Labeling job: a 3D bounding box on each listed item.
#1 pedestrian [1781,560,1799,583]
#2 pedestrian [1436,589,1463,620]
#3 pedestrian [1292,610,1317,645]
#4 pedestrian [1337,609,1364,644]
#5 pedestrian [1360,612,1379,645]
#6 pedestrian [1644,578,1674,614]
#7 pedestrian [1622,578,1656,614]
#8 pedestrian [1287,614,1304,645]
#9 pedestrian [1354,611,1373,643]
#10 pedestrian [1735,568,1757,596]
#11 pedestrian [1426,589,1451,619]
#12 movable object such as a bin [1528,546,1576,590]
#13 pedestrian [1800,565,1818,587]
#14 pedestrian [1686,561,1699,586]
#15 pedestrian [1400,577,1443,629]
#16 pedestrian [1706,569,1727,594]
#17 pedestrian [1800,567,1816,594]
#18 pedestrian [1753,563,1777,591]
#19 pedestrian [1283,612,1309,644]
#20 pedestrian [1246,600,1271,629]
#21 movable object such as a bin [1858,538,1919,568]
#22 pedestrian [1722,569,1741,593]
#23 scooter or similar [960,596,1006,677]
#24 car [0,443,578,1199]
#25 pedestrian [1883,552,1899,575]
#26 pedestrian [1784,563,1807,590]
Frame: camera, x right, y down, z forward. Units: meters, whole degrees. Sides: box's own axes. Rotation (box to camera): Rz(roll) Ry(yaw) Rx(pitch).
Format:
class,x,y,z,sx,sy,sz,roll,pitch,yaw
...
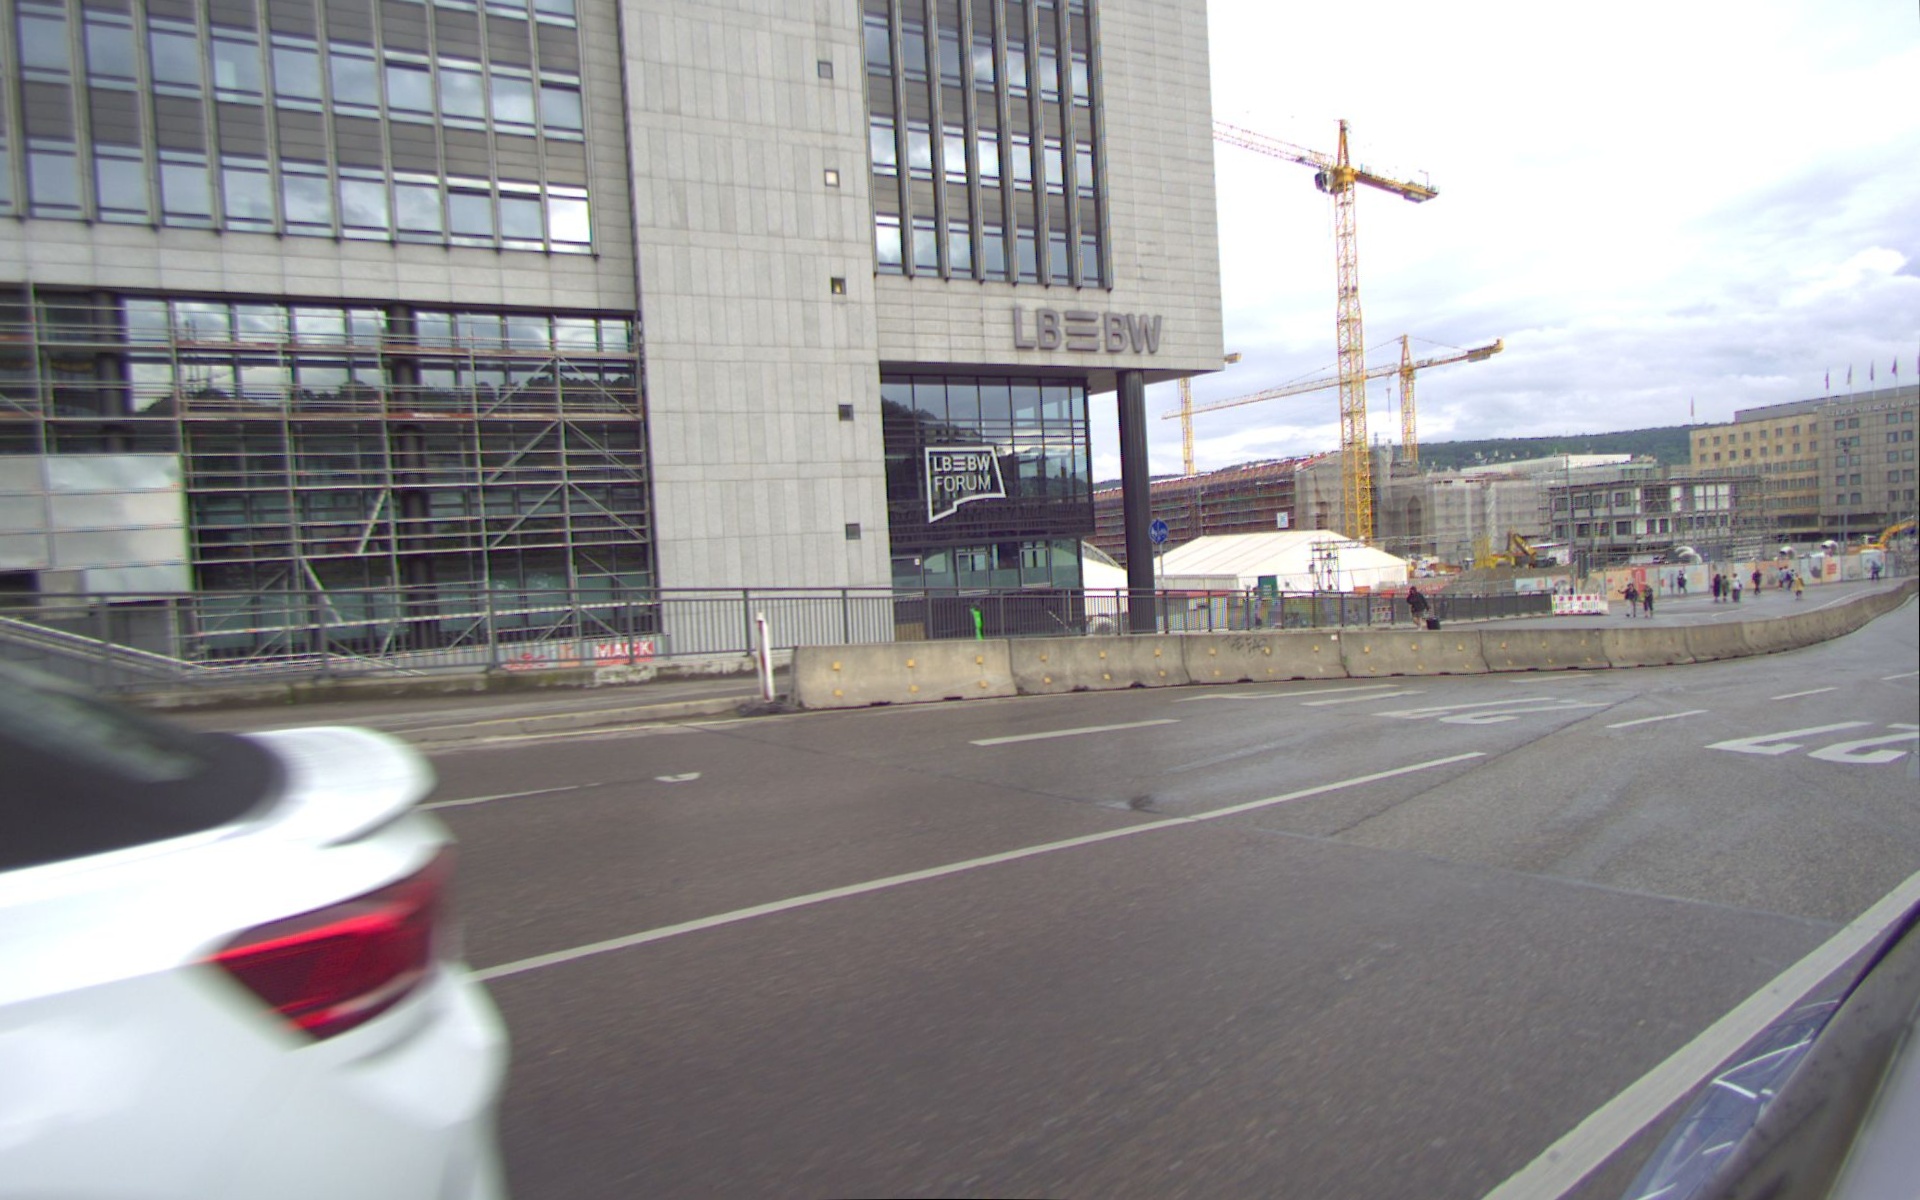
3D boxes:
class,x,y,z,sx,sy,sz,roll,pitch,yaw
pedestrian,60.555,-2.082,73.799,0.750,1.675,0.650,-3,1,-8
pedestrian,28.430,0.237,58.784,0.987,1.747,0.871,-3,1,-15
pedestrian,18.865,1.485,55.389,0.987,1.805,0.775,-3,1,-15
pedestrian,21.322,1.419,55.251,0.987,1.803,0.871,-3,1,-15
pedestrian,21.687,1.503,53.594,0.757,1.657,0.603,-2,1,4
pedestrian,32.212,-0.189,46.627,0.788,1.594,0.735,-3,1,-17
pedestrian,31.711,-0.188,47.286,0.932,1.613,0.865,-3,1,-17
pedestrian,18.058,1.579,54.444,0.554,1.635,0.707,-3,1,-11
pedestrian,21.690,1.443,54.421,0.738,1.657,0.587,-2,1,4
pedestrian,50.283,-1.140,64.727,0.873,1.744,0.781,-3,1,-25
pedestrian,28.247,0.227,59.768,0.987,1.710,0.871,-3,1,-15
movable object such as a bin,48.577,-2.650,83.035,4.154,3.451,1.942,-4,2,-37
pedestrian,61.249,-1.754,73.033,0.750,1.572,0.650,-3,1,-8
pedestrian,51.046,-1.844,70.509,0.485,1.769,0.569,-3,1,-26
pedestrian,15.425,0.093,33.829,1.038,1.672,0.733,-2,1,-17
pedestrian,49.000,-1.173,65.550,0.988,1.572,0.718,-3,1,-25
pedestrian,53.396,-1.228,63.715,0.893,1.653,0.647,-4,2,-44
pedestrian,55.312,-1.565,69.537,0.988,1.840,0.870,-3,1,-25
pedestrian,18.777,1.562,56.604,0.987,1.657,0.871,-3,1,-15
pedestrian,17.215,0.812,58.333,0.987,1.572,0.871,-3,1,-15
movable object such as a bin,86.816,-4.371,94.386,4.063,2.566,1.994,-2,1,12
pedestrian,49.565,-1.227,65.042,0.867,1.541,0.612,-3,1,-25
scooter or similar,0.348,0.541,15.203,0.561,1.177,0.350,-2,1,-29
car,-2.761,0.640,0.892,4.144,1.568,1.968,-1,0,-40
pedestrian,71.982,-2.806,78.254,0.673,1.726,0.748,-3,3,-30
pedestrian,59.455,-1.671,71.982,0.913,1.871,0.822,-3,1,-8
